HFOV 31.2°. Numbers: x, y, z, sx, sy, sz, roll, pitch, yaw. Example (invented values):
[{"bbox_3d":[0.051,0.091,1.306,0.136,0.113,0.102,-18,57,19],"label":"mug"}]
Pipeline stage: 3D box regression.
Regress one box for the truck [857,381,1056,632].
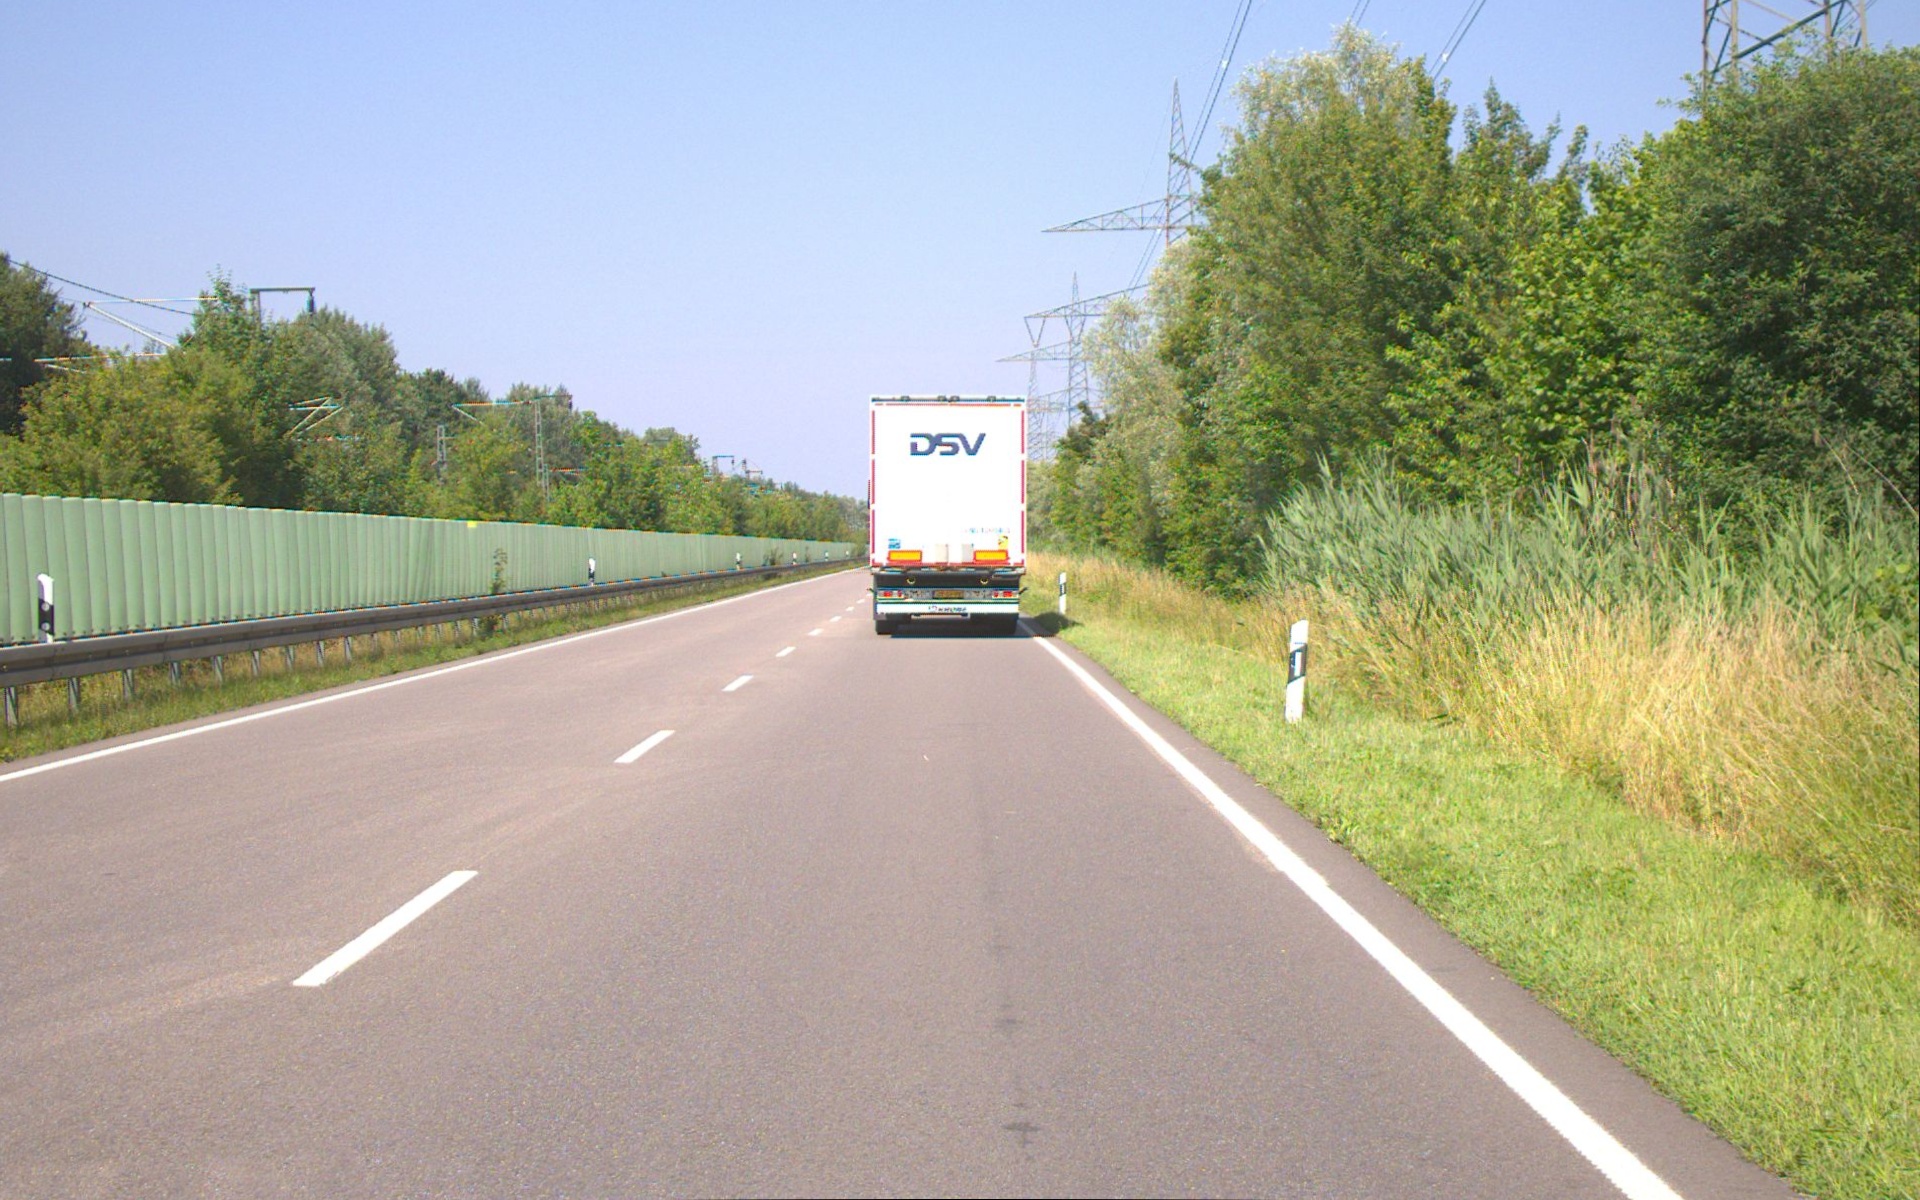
[{"bbox_3d":[-0.145,-1.620,61.627,3.192,4.029,12.007,0,1,-1],"label":"truck"}]
